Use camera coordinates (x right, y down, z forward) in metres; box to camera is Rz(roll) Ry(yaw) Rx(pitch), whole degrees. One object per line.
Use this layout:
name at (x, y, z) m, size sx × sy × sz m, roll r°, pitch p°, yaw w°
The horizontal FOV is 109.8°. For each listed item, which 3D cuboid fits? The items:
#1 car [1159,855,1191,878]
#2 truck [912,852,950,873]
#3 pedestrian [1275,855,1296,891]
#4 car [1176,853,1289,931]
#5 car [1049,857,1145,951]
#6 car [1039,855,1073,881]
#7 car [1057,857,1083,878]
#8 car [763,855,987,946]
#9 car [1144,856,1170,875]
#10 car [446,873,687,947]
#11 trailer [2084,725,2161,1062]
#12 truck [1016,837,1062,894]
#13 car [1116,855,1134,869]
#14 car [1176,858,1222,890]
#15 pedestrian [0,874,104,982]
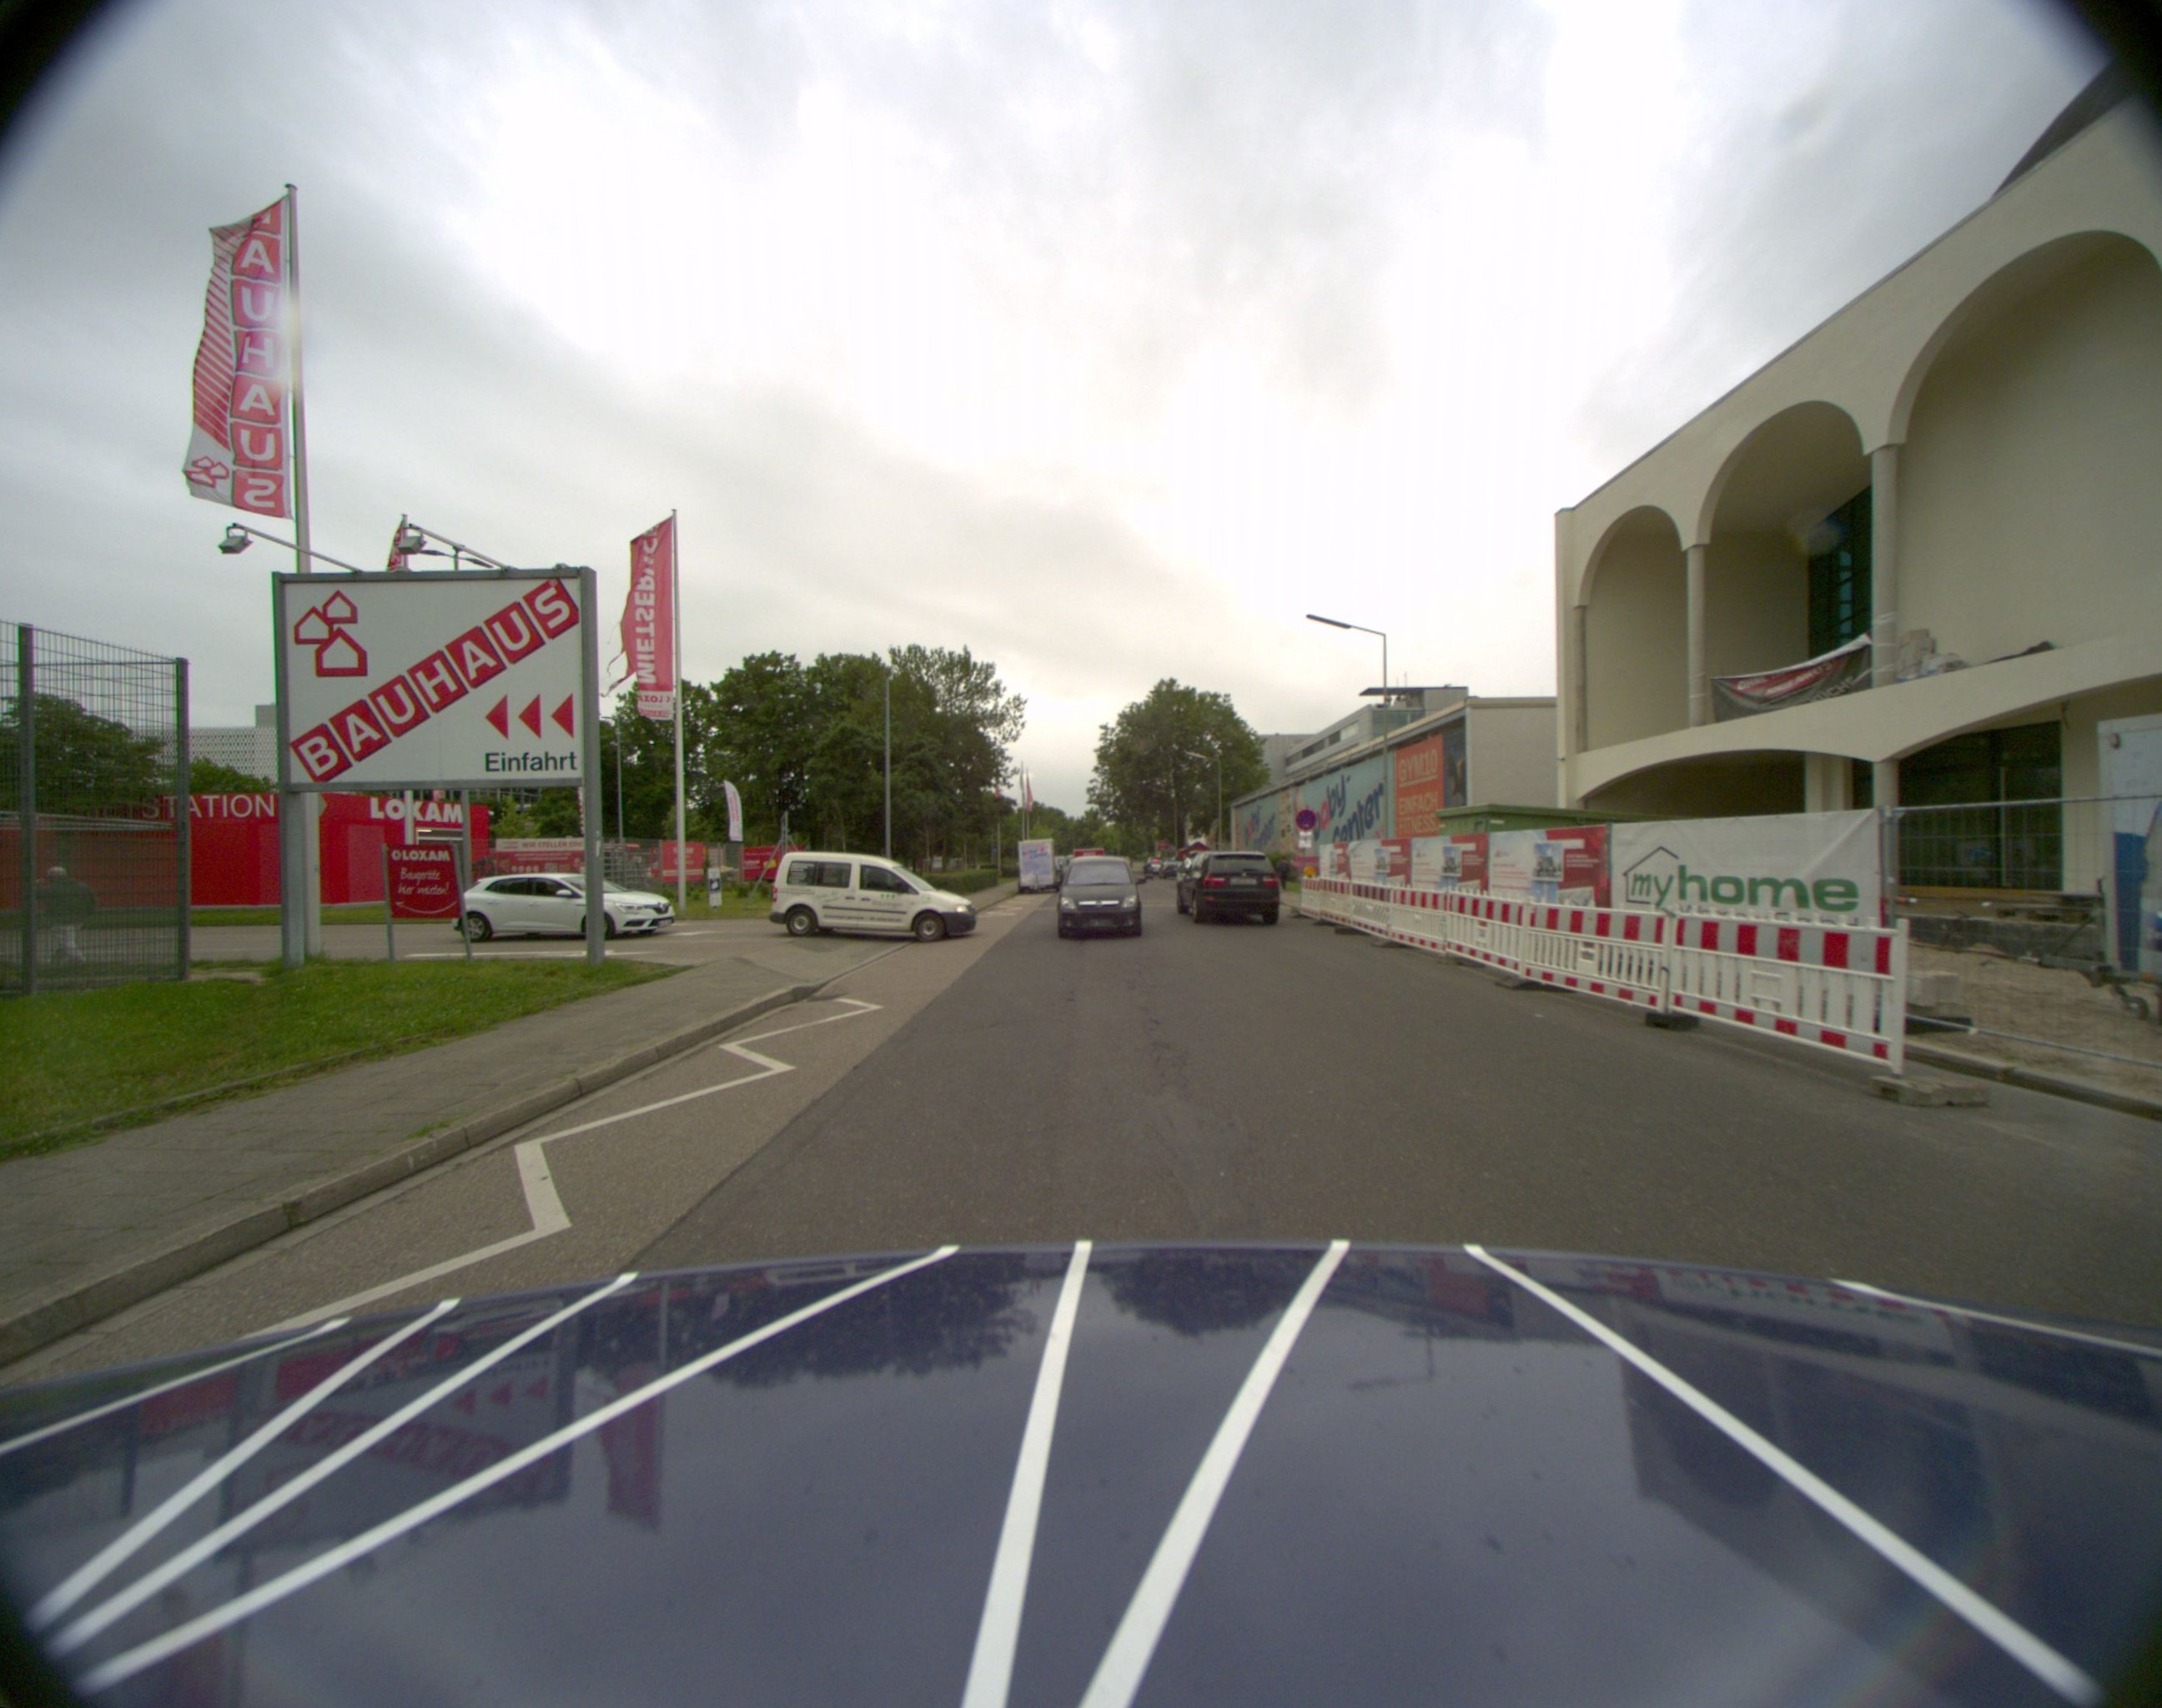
car at (6.983, 0.889, 56.769) m, size 1.929 × 1.565 × 4.150 m, roll 2°, pitch 0°, yaw 2°
truck at (-17.862, 1.006, 90.653) m, size 1.994 × 2.382 × 4.008 m, roll 0°, pitch 0°, yaw 41°
pedestrian at (9.229, 0.849, 34.270) m, size 0.793 × 1.570 × 0.602 m, roll -2°, pitch 1°, yaw 8°
car at (3.616, 0.824, 18.997) m, size 1.964 × 1.652 × 4.654 m, roll 2°, pitch 0°, yaw 1°
car at (0.378, 0.903, 15.385) m, size 1.685 × 1.622 × 3.759 m, roll -1°, pitch 0°, yaw 3°
car at (-1.716, 0.942, 53.639) m, size 1.998 × 1.739 × 4.001 m, roll -1°, pitch 0°, yaw 3°
car at (-0.923, 1.144, 67.563) m, size 1.998 × 1.739 × 4.001 m, roll -1°, pitch 0°, yaw 3°
car at (-4.373, 0.965, 16.633) m, size 4.380 × 1.797 × 1.800 m, roll 1°, pitch 0°, yaw 0°
car at (6.718, 0.960, 67.497) m, size 1.929 × 1.565 × 4.150 m, roll 2°, pitch 0°, yaw 2°
car at (-11.168, 1.195, 16.685) m, size 4.112 × 1.412 × 1.731 m, roll -2°, pitch 0°, yaw 2°
trailer at (9.101, 0.298, 4.641) m, size 1.802 × 2.591 × 3.192 m, roll 0°, pitch 0°, yaw 4°
truck at (-2.042, 0.548, 38.193) m, size 1.853 × 2.597 × 4.000 m, roll -4°, pitch 0°, yaw 1°
car at (4.786, 0.849, 83.346) m, size 1.929 × 1.565 × 4.000 m, roll 0°, pitch 0°, yaw 2°
car at (6.257, 1.021, 40.726) m, size 1.929 × 1.565 × 4.150 m, roll 2°, pitch 0°, yaw 2°
pedestrian at (-17.277, 1.209, 12.717) m, size 0.869 × 1.733 × 0.741 m, roll -1°, pitch 0°, yaw 4°
